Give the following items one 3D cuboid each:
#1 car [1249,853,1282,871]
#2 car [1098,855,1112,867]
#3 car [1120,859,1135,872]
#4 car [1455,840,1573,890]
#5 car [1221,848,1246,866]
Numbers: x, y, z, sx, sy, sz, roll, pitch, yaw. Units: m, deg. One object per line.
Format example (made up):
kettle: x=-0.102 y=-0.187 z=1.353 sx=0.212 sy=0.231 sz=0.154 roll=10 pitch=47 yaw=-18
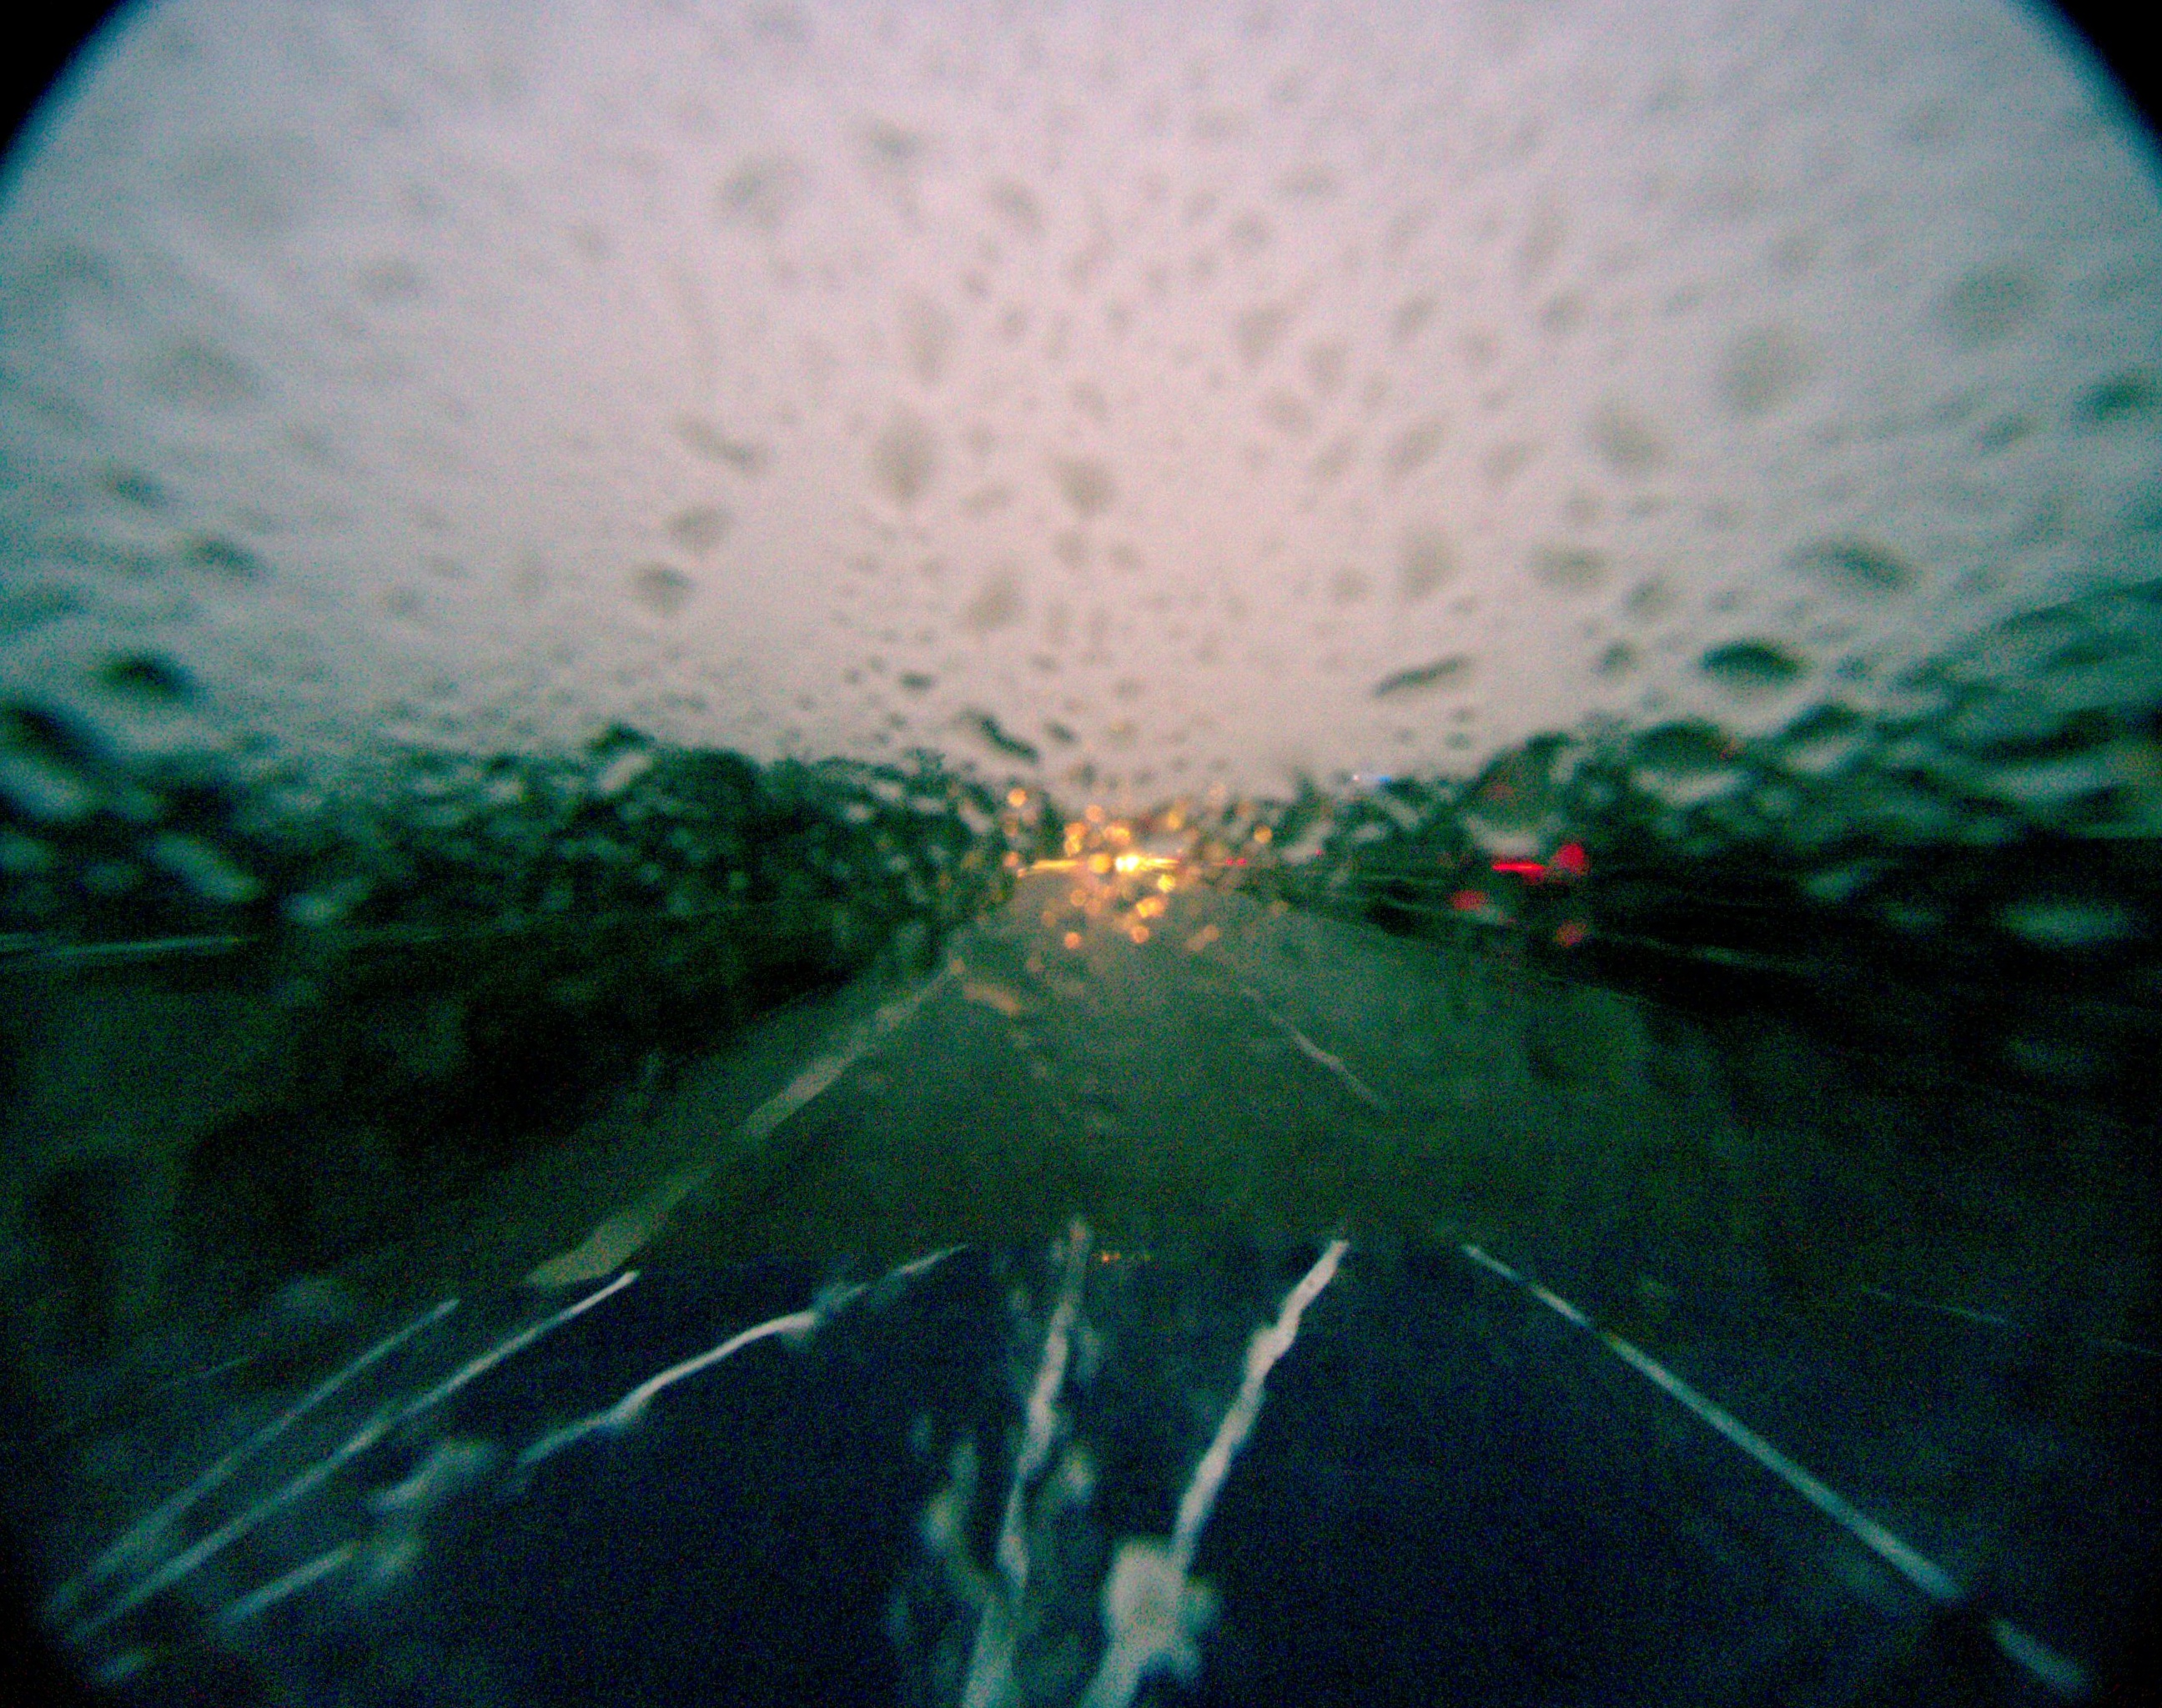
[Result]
car: x=13.140 y=0.542 z=54.351 sx=1.462 sy=1.180 sz=3.798 roll=-2 pitch=0 yaw=1
car: x=3.025 y=0.901 z=94.948 sx=1.683 sy=1.401 sz=3.775 roll=-2 pitch=0 yaw=2
car: x=7.692 y=1.828 z=126.440 sx=1.999 sy=2.002 sz=3.999 roll=-4 pitch=0 yaw=-2
car: x=14.573 y=0.346 z=25.843 sx=1.741 sy=1.499 sz=4.000 roll=-2 pitch=0 yaw=1
car: x=15.348 y=0.281 z=76.596 sx=1.728 sy=1.582 sz=4.000 roll=-3 pitch=0 yaw=1
